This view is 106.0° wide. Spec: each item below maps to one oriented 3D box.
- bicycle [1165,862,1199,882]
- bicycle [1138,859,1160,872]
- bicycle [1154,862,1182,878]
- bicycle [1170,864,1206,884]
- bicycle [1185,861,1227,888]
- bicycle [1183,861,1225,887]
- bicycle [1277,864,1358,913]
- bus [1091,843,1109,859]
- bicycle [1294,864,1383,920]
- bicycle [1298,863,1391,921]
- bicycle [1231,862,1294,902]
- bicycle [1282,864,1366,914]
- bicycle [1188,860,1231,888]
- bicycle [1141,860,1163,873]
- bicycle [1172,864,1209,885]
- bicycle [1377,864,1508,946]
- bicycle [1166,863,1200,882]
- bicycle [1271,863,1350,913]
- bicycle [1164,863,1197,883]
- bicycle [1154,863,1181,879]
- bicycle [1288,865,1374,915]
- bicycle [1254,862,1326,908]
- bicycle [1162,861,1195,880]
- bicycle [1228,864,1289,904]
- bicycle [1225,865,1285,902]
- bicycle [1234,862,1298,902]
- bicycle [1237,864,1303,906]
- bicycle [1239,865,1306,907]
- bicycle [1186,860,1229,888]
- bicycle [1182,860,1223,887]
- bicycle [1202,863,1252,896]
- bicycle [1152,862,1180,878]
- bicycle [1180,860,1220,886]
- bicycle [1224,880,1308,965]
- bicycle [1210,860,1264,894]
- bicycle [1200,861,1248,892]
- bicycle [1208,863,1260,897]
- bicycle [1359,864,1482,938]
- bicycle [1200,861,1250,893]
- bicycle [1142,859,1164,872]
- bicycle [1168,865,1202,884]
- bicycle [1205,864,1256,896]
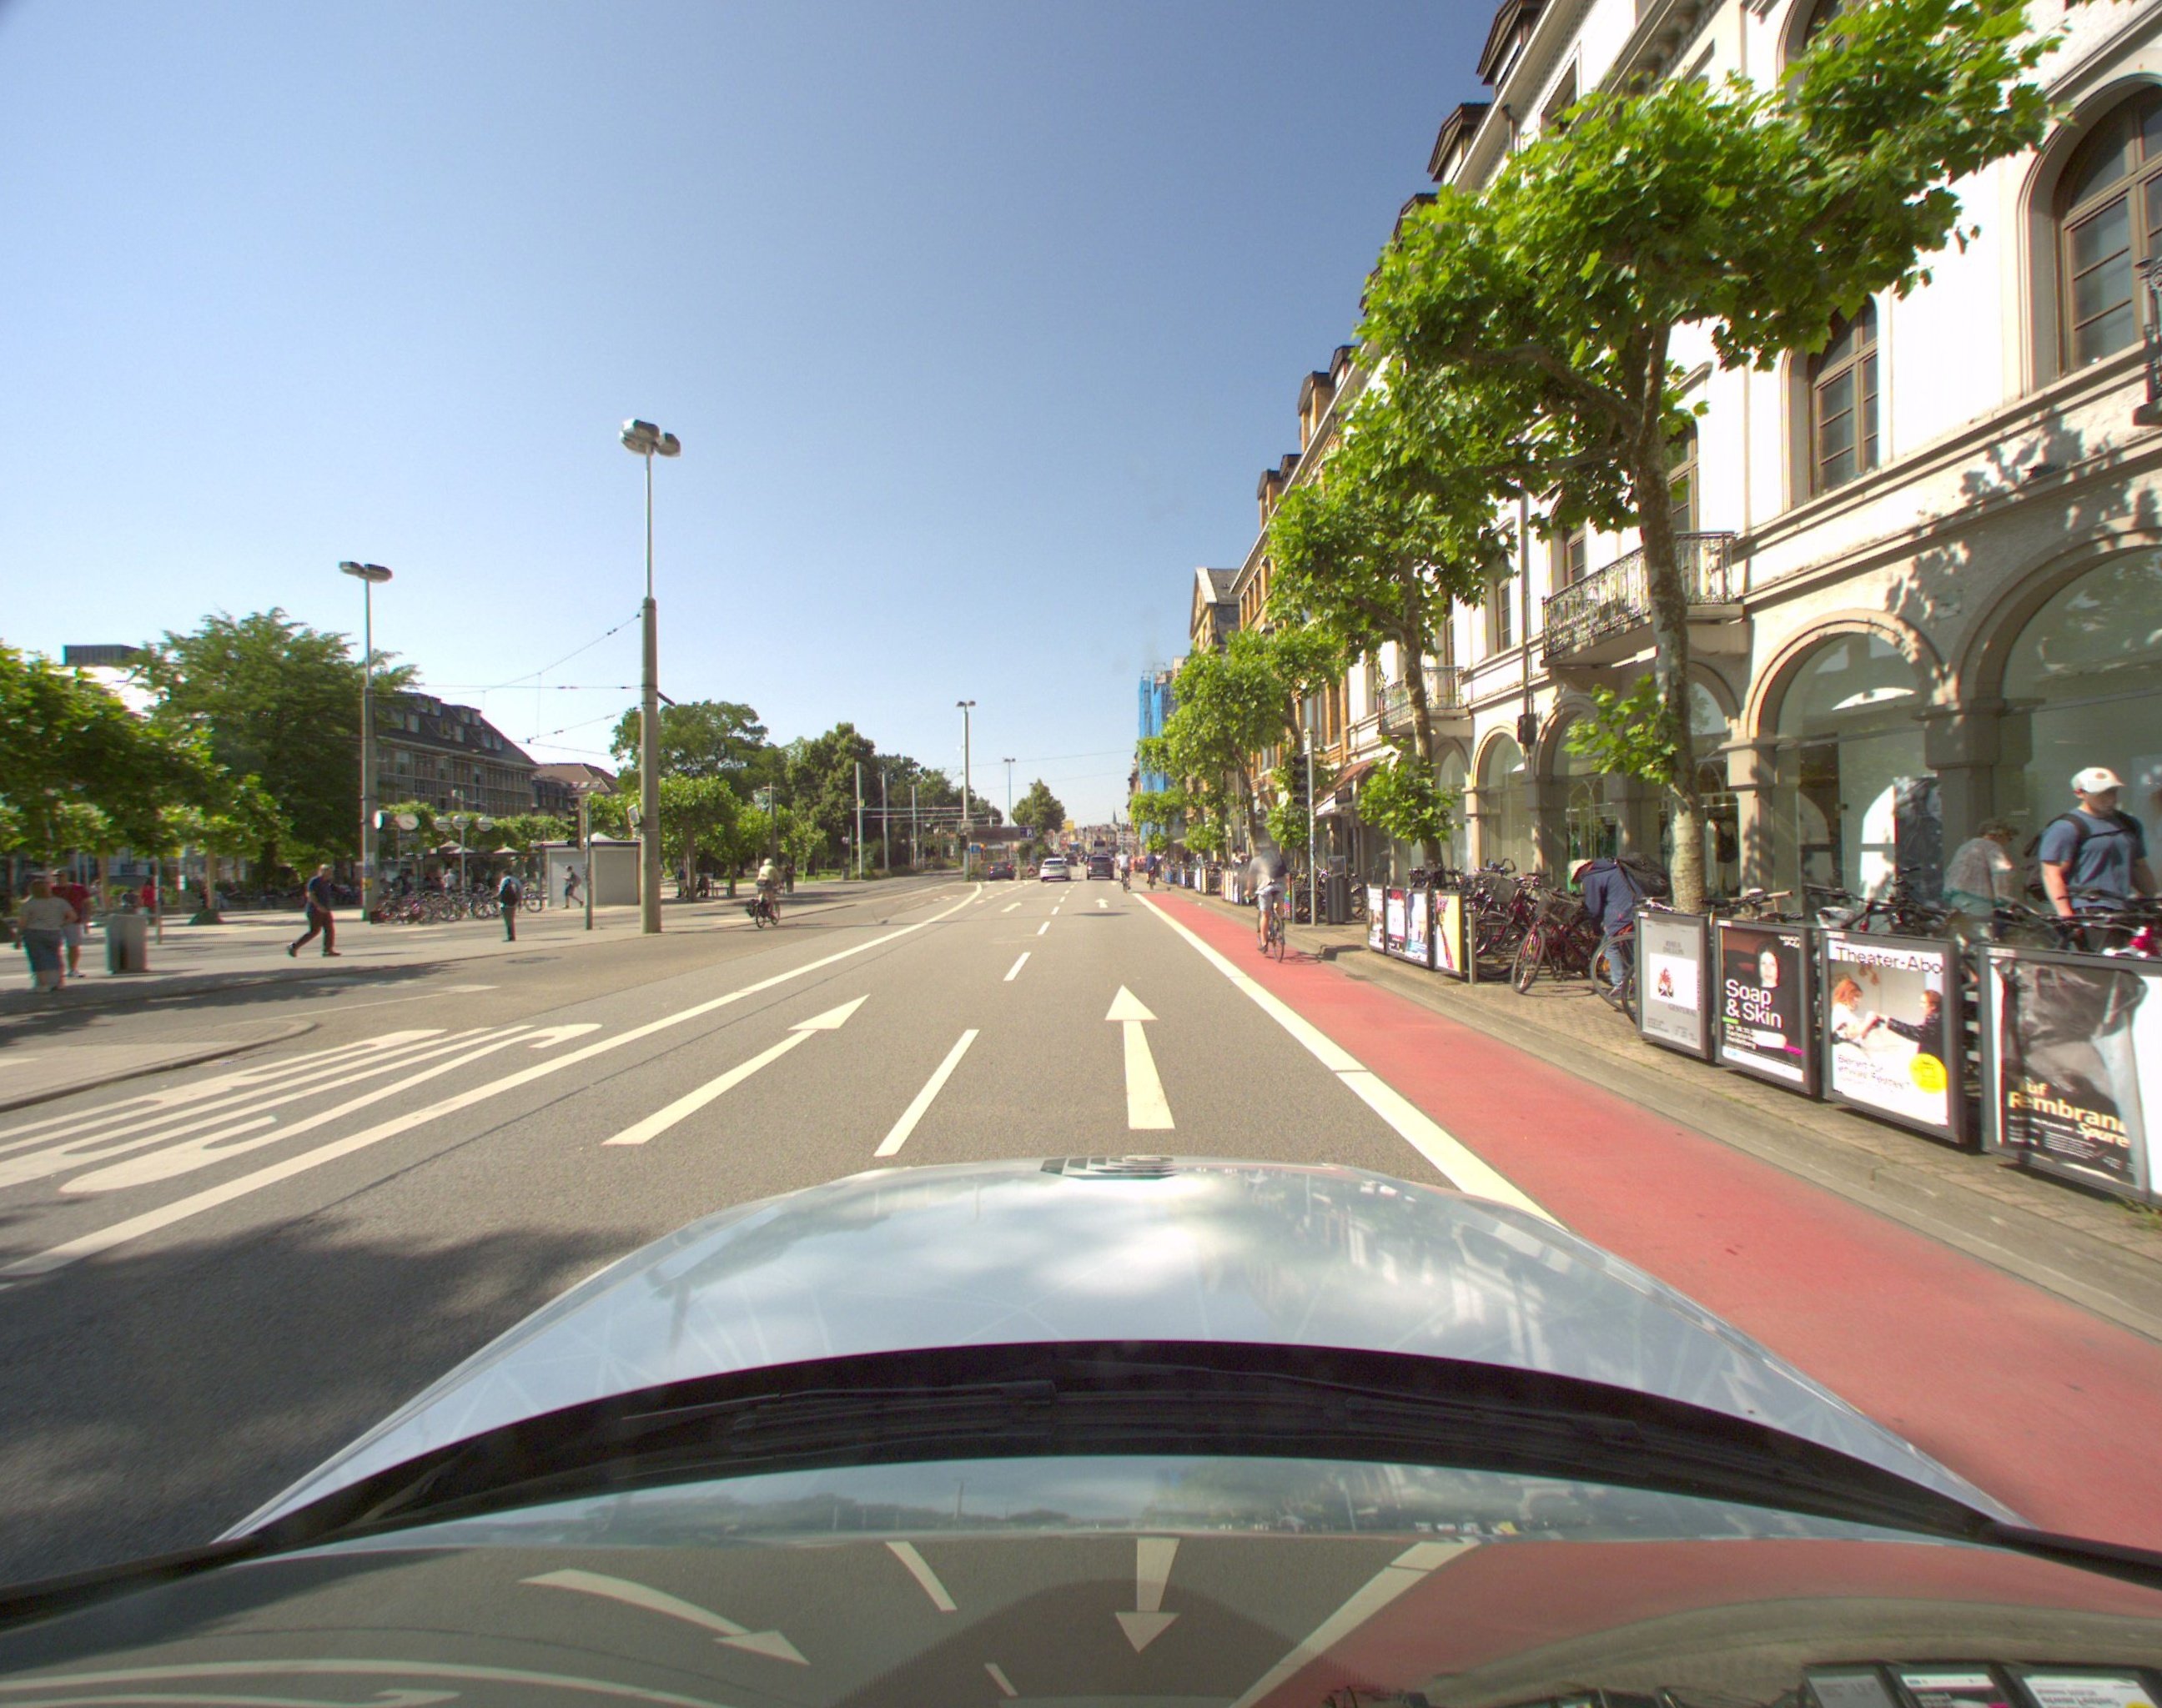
[{"bbox_3d":[5.409,0.968,43.709,1.748,1.018,0.482,-1,-1,-2],"label":"bicycle"},{"bbox_3d":[5.767,0.978,69.166,1.748,1.018,0.482,-1,-1,-2],"label":"bicycle"},{"bbox_3d":[5.638,1.049,53.061,1.748,1.018,0.482,-1,-1,-2],"label":"bicycle"},{"bbox_3d":[5.445,1.016,41.589,1.748,1.018,0.482,-1,-1,-2],"label":"bicycle"},{"bbox_3d":[5.432,0.879,35.484,1.748,1.147,0.482,-1,-1,-2],"label":"bicycle"},{"bbox_3d":[5.420,0.875,35.983,1.748,1.147,0.482,-1,-1,-2],"label":"bicycle"},{"bbox_3d":[5.474,0.798,18.900,1.748,1.105,0.482,-1,-1,-2],"label":"bicycle"},{"bbox_3d":[3.405,-0.456,148.405,2.961,2.776,8.635,1,0,-2],"label":"bus"},{"bbox_3d":[5.469,0.800,17.339,1.748,1.147,0.482,-1,-1,-2],"label":"bicycle"},{"bbox_3d":[5.417,0.780,16.755,1.748,1.147,0.482,-1,-1,-2],"label":"bicycle"},{"bbox_3d":[5.390,0.826,24.261,1.748,1.147,0.482,-1,-1,-2],"label":"bicycle"},{"bbox_3d":[5.484,0.792,18.399,1.748,1.087,0.482,-1,-1,-2],"label":"bicycle"},{"bbox_3d":[5.443,0.842,34.500,1.748,1.147,0.482,-1,-1,-2],"label":"bicycle"},{"bbox_3d":[5.916,1.034,67.774,1.748,1.018,0.482,-1,-1,-2],"label":"bicycle"},{"bbox_3d":[5.496,1.010,40.885,1.748,1.018,0.482,-1,-1,-2],"label":"bicycle"},{"bbox_3d":[5.523,0.771,12.487,1.794,1.194,0.482,-1,-1,-2],"label":"bicycle"},{"bbox_3d":[5.400,0.973,43.107,1.748,1.018,0.482,-1,-1,-2],"label":"bicycle"},{"bbox_3d":[5.465,0.796,19.410,1.748,1.147,0.482,-1,-1,-2],"label":"bicycle"},{"bbox_3d":[5.413,1.036,44.234,1.748,1.018,0.482,-1,-1,-2],"label":"bicycle"},{"bbox_3d":[5.684,1.107,53.626,1.748,1.018,0.482,-1,-1,-2],"label":"bicycle"},{"bbox_3d":[5.485,0.779,17.896,1.748,1.068,0.482,-1,-1,-2],"label":"bicycle"},{"bbox_3d":[5.416,0.799,21.144,1.748,1.147,0.482,-1,-1,-2],"label":"bicycle"},{"bbox_3d":[5.443,0.906,45.350,1.748,1.018,0.482,-1,-1,-2],"label":"bicycle"},{"bbox_3d":[5.420,0.901,24.913,1.748,1.187,0.482,-1,-1,-2],"label":"bicycle"},{"bbox_3d":[5.442,0.904,25.508,1.748,1.123,0.482,-1,-1,-2],"label":"bicycle"},{"bbox_3d":[5.388,0.808,23.715,1.748,1.147,0.482,-1,-1,-2],"label":"bicycle"},{"bbox_3d":[5.382,0.885,23.177,1.748,1.147,0.527,-1,-1,-2],"label":"bicycle"},{"bbox_3d":[5.308,0.883,22.623,1.748,1.147,0.482,-1,0,-2],"label":"bicycle"},{"bbox_3d":[5.434,0.862,35.006,1.748,1.147,0.482,-1,-1,-2],"label":"bicycle"},{"bbox_3d":[5.423,0.867,36.472,1.748,1.147,0.482,-1,-1,-2],"label":"bicycle"},{"bbox_3d":[5.380,0.931,29.970,1.748,1.147,0.482,-1,-1,-2],"label":"bicycle"},{"bbox_3d":[5.648,1.062,54.255,1.748,1.018,0.586,-2,-1,-2],"label":"bicycle"},{"bbox_3d":[5.411,0.876,36.966,1.748,1.147,0.482,-1,-1,-2],"label":"bicycle"},{"bbox_3d":[2.720,0.971,12.199,0.732,1.093,2.129,1,0,-1],"label":"bicycle"},{"bbox_3d":[5.430,0.809,28.402,1.748,1.147,0.499,-1,-1,-2],"label":"bicycle"},{"bbox_3d":[5.426,0.868,30.979,1.748,1.147,0.482,-1,-1,-2],"label":"bicycle"},{"bbox_3d":[5.424,0.923,28.981,1.748,1.147,0.482,-1,-1,-2],"label":"bicycle"},{"bbox_3d":[5.431,0.739,13.054,1.769,1.147,0.482,-1,-1,-2],"label":"bicycle"},{"bbox_3d":[5.383,0.853,30.477,1.748,1.147,0.482,-1,-1,-2],"label":"bicycle"},{"bbox_3d":[5.953,0.966,67.216,1.748,1.018,0.482,-1,-1,-2],"label":"bicycle"},{"bbox_3d":[5.419,1.069,42.369,1.712,0.985,0.482,-1,-1,-2],"label":"bicycle"},{"bbox_3d":[5.405,0.931,29.476,1.748,1.147,0.482,-1,-1,-2],"label":"bicycle"}]
